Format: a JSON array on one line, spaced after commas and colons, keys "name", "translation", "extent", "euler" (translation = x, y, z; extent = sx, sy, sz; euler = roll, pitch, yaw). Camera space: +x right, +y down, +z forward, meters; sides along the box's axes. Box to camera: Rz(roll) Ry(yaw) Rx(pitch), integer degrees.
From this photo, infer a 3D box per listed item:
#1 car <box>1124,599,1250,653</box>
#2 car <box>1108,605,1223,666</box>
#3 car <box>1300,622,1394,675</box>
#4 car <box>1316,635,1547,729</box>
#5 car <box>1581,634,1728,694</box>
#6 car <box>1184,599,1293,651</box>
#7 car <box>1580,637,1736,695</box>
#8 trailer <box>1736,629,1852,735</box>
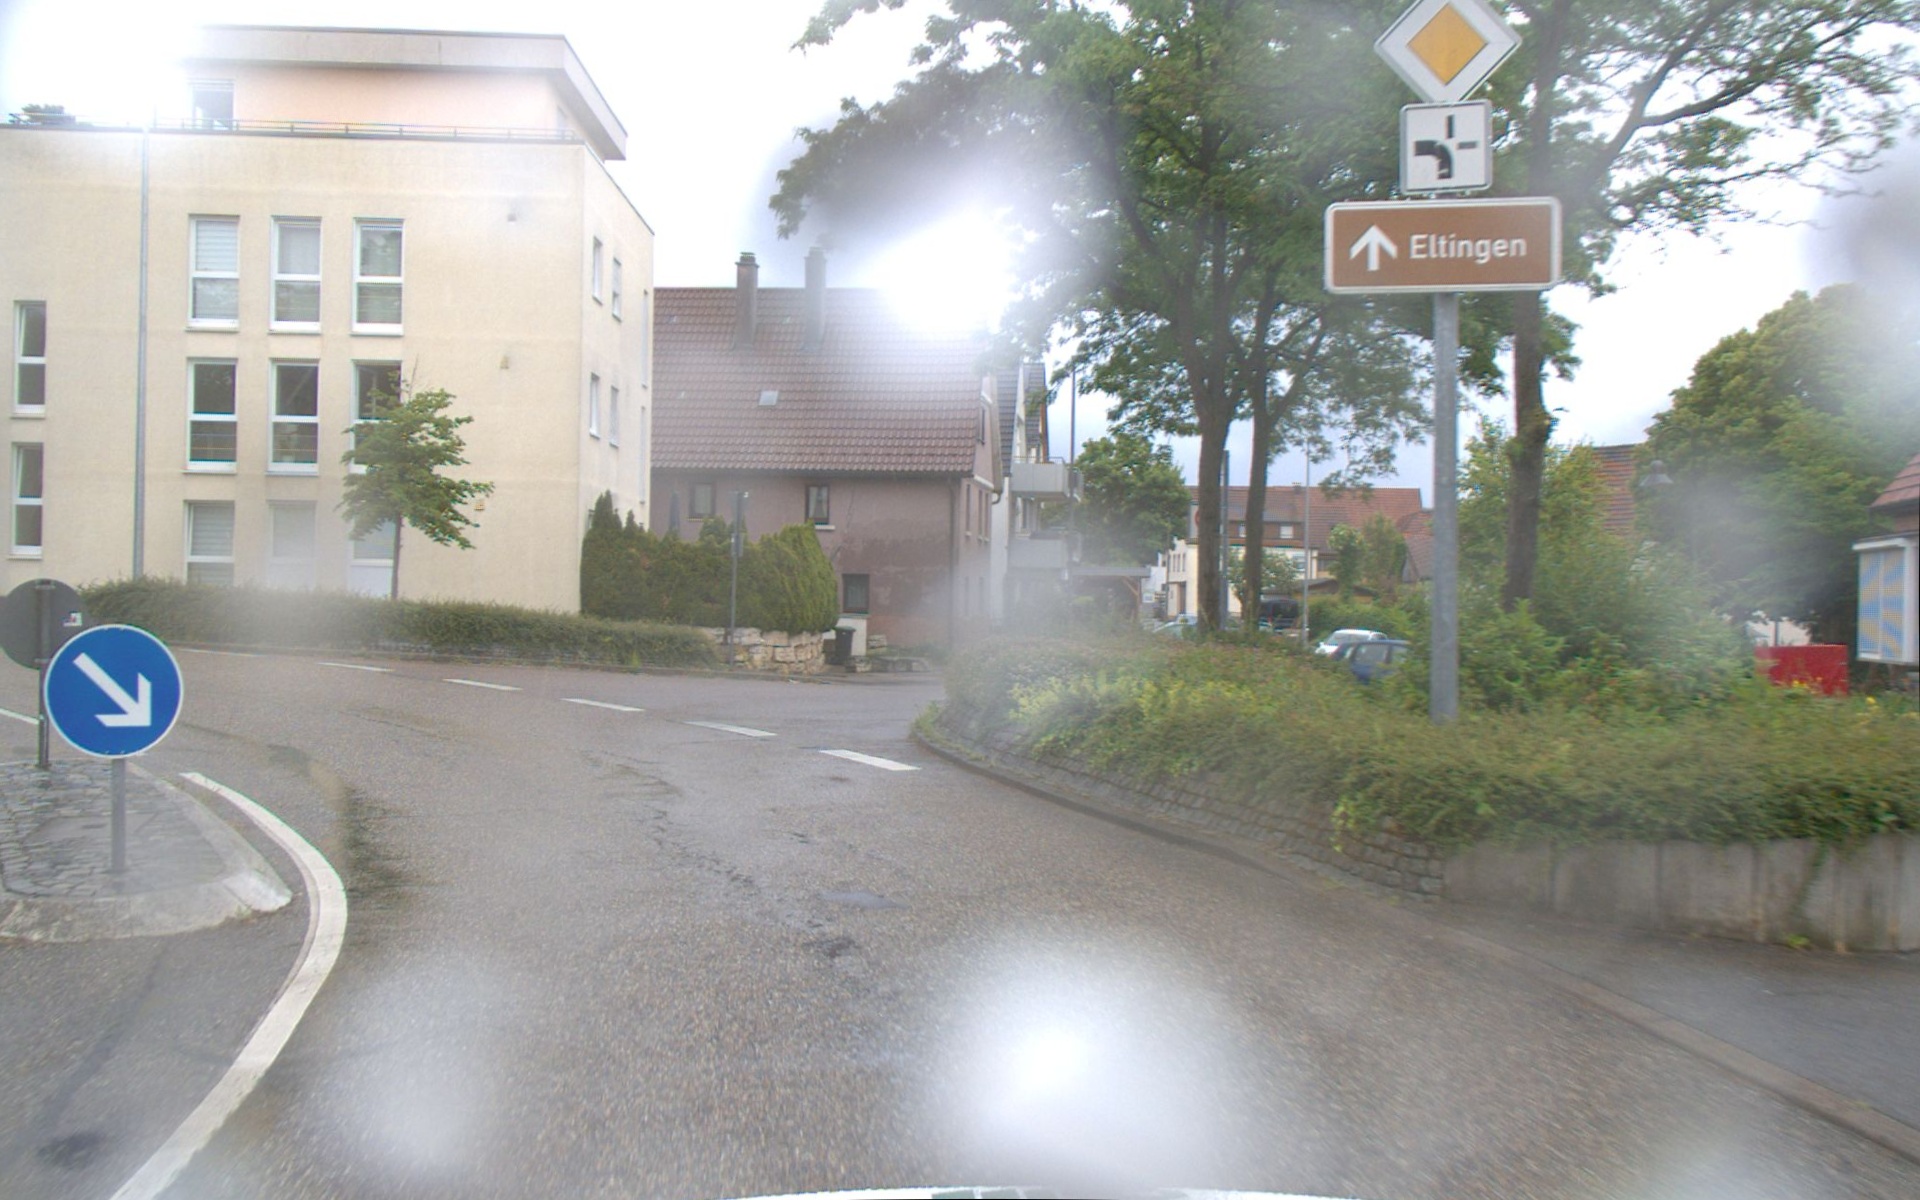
[{"name": "car", "translation": [7.342, 0.826, 53.709], "extent": [3.903, 1.482, 1.948], "euler": [3, 0, 7]}, {"name": "car", "translation": [7.361, 1.247, 59.027], "extent": [3.902, 1.914, 1.841], "euler": [3, 0, 10]}, {"name": "car", "translation": [12.318, 1.538, 52.521], "extent": [1.720, 1.563, 4.141], "euler": [2, 0, 30]}, {"name": "car", "translation": [8.314, 1.419, 29.387], "extent": [1.608, 1.414, 3.681], "euler": [3, 0, -40]}, {"name": "car", "translation": [21.869, 1.987, 52.132], "extent": [3.919, 1.579, 1.993], "euler": [3, 0, 34]}, {"name": "car", "translation": [10.419, 0.917, 62.056], "extent": [3.902, 1.726, 2.002], "euler": [3, 0, 8]}, {"name": "car", "translation": [22.974, 2.156, 54.466], "extent": [4.392, 1.579, 1.993], "euler": [3, 0, 35]}, {"name": "trailer", "translation": [14.597, 1.388, 29.042], "extent": [1.378, 1.678, 2.725], "euler": [3, 0, 19]}]
